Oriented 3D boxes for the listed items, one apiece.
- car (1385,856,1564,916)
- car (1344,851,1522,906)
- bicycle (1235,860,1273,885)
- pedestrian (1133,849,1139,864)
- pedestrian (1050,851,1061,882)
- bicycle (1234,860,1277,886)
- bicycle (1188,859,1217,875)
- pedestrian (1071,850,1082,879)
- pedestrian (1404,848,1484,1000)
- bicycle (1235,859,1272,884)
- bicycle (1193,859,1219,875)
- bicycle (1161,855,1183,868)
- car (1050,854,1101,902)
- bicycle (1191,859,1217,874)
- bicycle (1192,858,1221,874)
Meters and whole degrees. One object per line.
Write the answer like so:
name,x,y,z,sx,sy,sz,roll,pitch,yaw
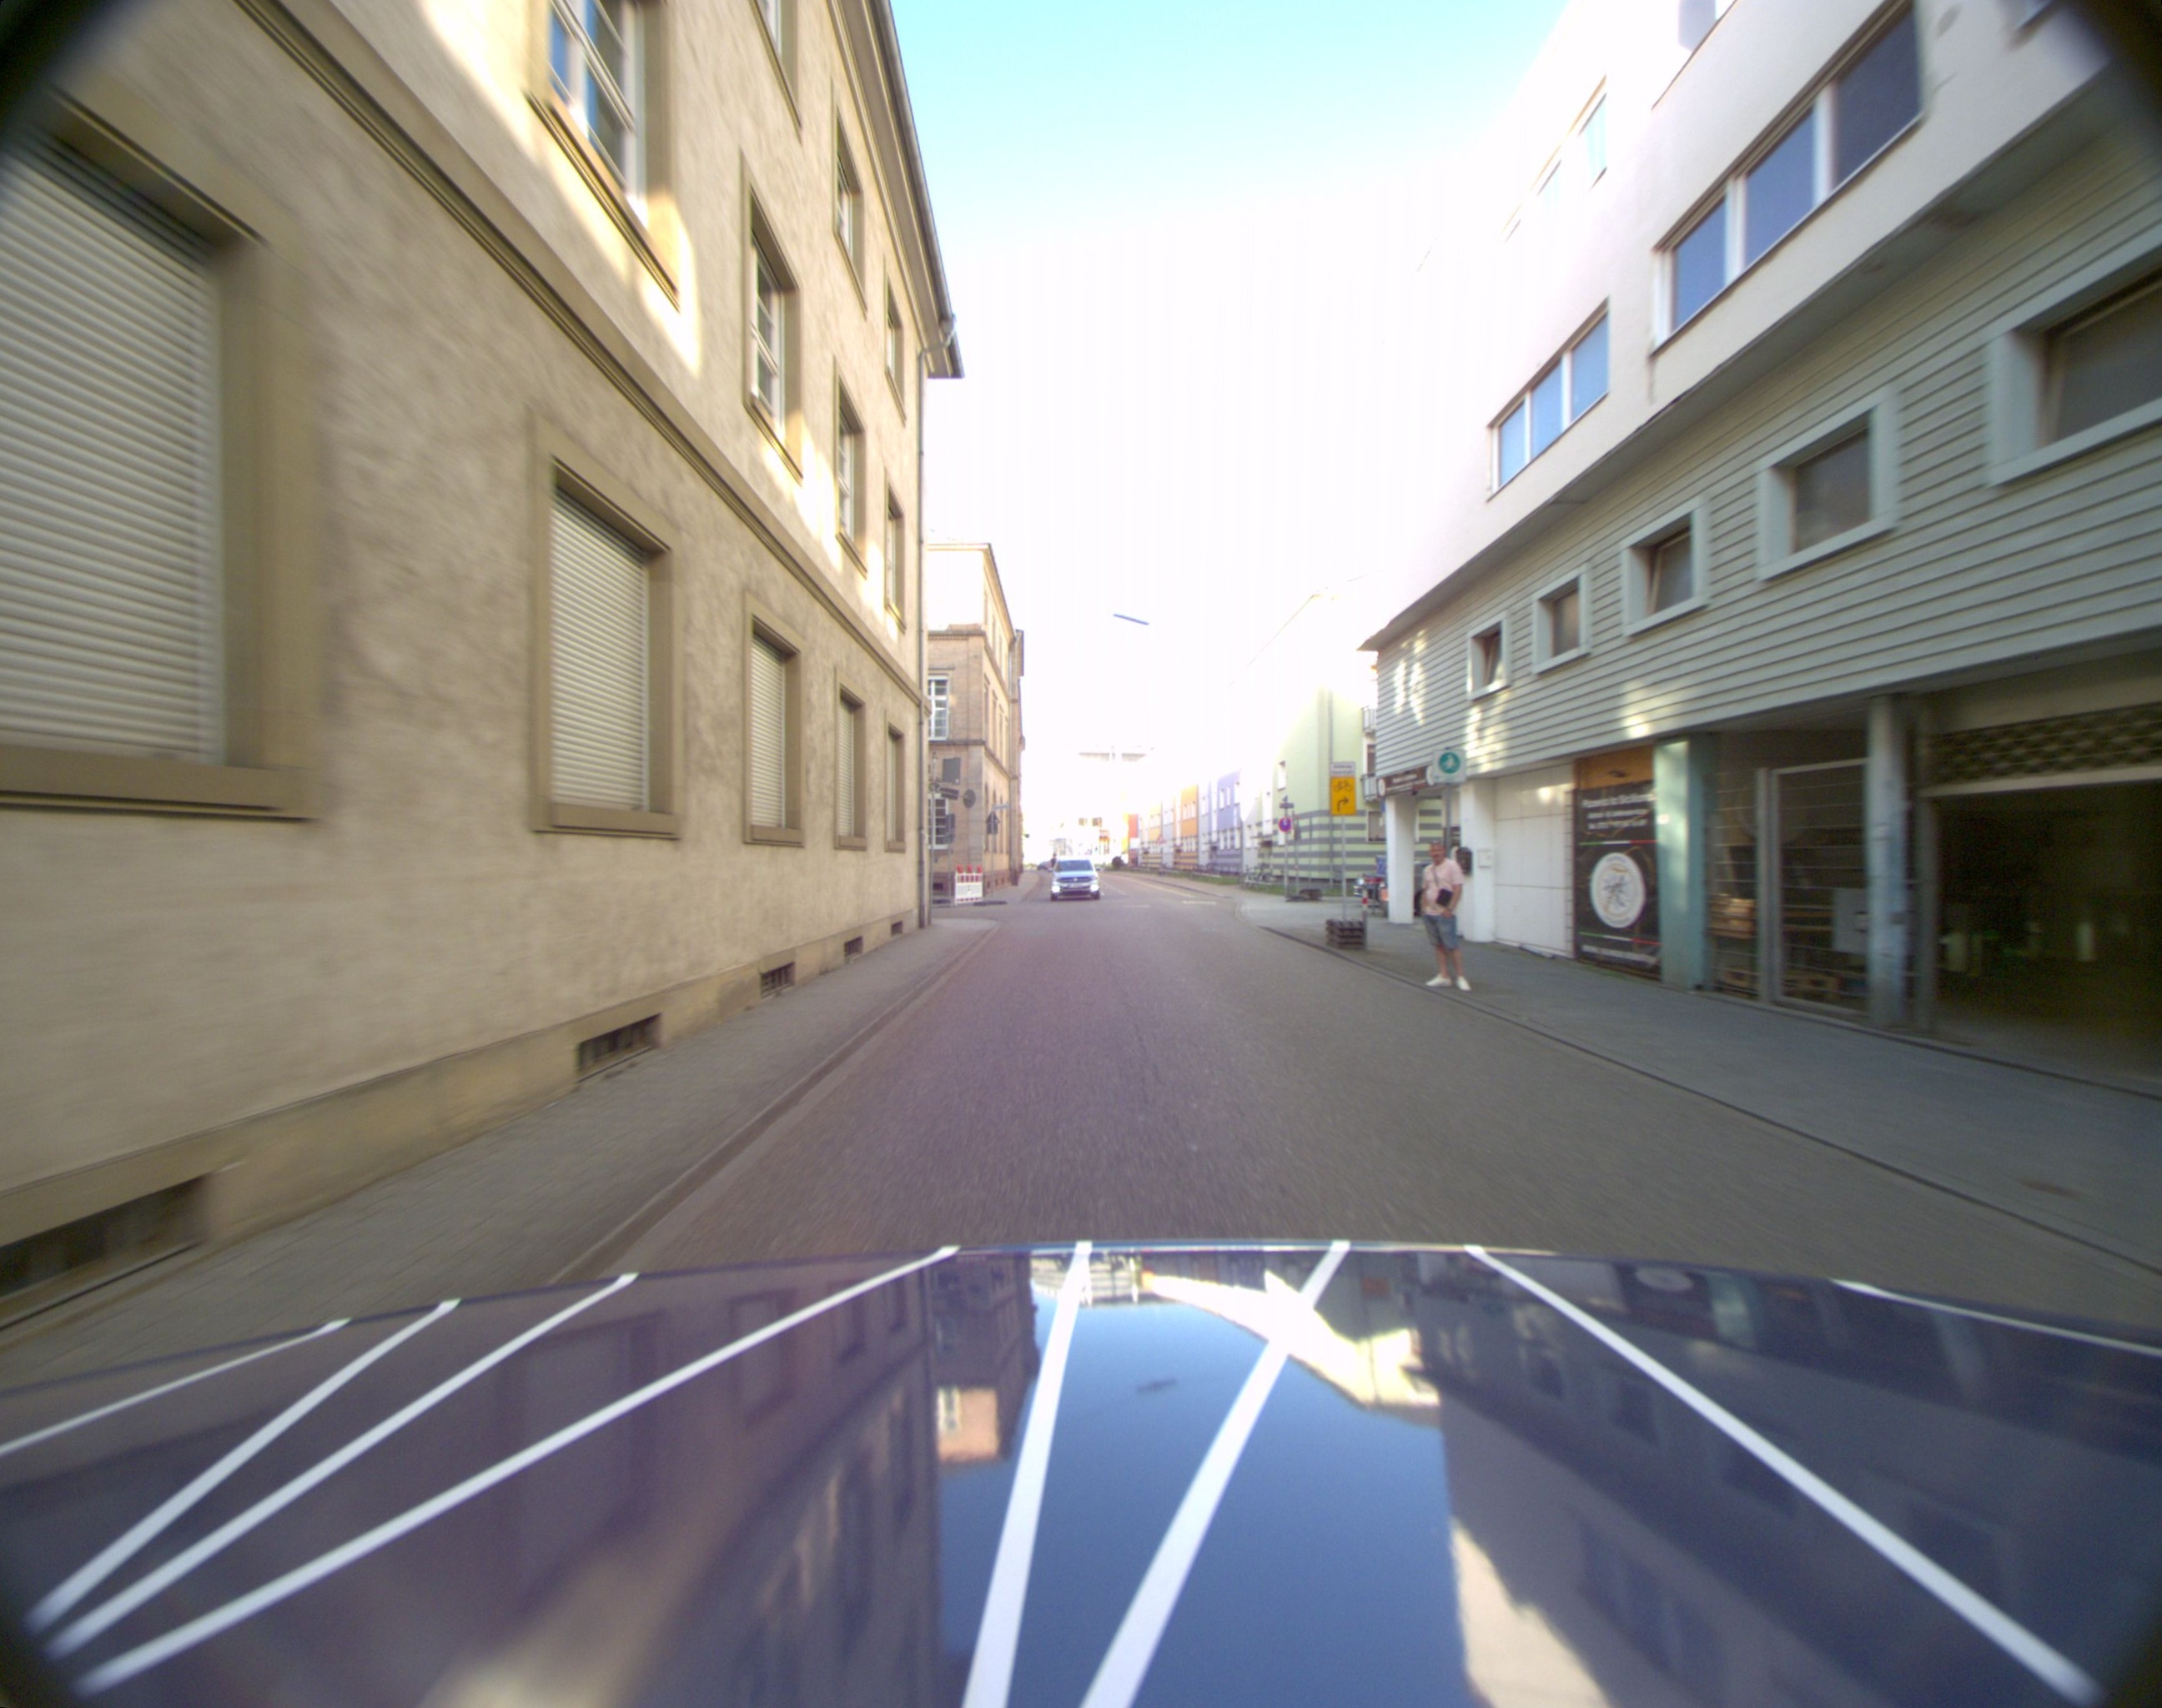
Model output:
car,10.451,0.815,20.375,3.942,1.511,1.692,0,0,-2
car,10.791,0.724,23.495,4.667,1.471,1.786,-2,2,0
bicycle,8.536,0.913,37.557,1.739,1.094,0.388,-4,1,-8
pedestrian,6.012,0.311,82.882,0.612,1.641,0.447,-1,1,-7
pedestrian,-1.593,0.788,47.317,0.677,1.928,0.858,-1,1,-1
bicycle,8.284,0.910,36.118,1.820,1.094,0.749,-4,1,-1
bicycle,7.994,0.844,50.024,1.803,0.940,0.388,-4,1,-1
pedestrian,-0.279,0.646,46.746,0.603,1.770,0.652,-1,1,-1
pedestrian,4.175,0.780,8.762,0.494,1.660,0.627,-3,1,-13
bicycle,8.609,0.874,37.962,1.739,1.094,0.388,-4,1,-8
bicycle,8.537,0.874,51.979,1.657,0.940,0.388,-4,1,-1
bicycle,7.985,0.683,66.738,1.808,0.977,0.654,-5,1,-4
car,-0.248,0.843,28.519,1.683,1.568,4.242,-3,0,-2
bicycle,8.489,0.868,52.385,1.657,0.940,0.388,-4,1,-1
bicycle,8.351,0.781,50.720,1.803,0.940,0.388,-4,1,-1
